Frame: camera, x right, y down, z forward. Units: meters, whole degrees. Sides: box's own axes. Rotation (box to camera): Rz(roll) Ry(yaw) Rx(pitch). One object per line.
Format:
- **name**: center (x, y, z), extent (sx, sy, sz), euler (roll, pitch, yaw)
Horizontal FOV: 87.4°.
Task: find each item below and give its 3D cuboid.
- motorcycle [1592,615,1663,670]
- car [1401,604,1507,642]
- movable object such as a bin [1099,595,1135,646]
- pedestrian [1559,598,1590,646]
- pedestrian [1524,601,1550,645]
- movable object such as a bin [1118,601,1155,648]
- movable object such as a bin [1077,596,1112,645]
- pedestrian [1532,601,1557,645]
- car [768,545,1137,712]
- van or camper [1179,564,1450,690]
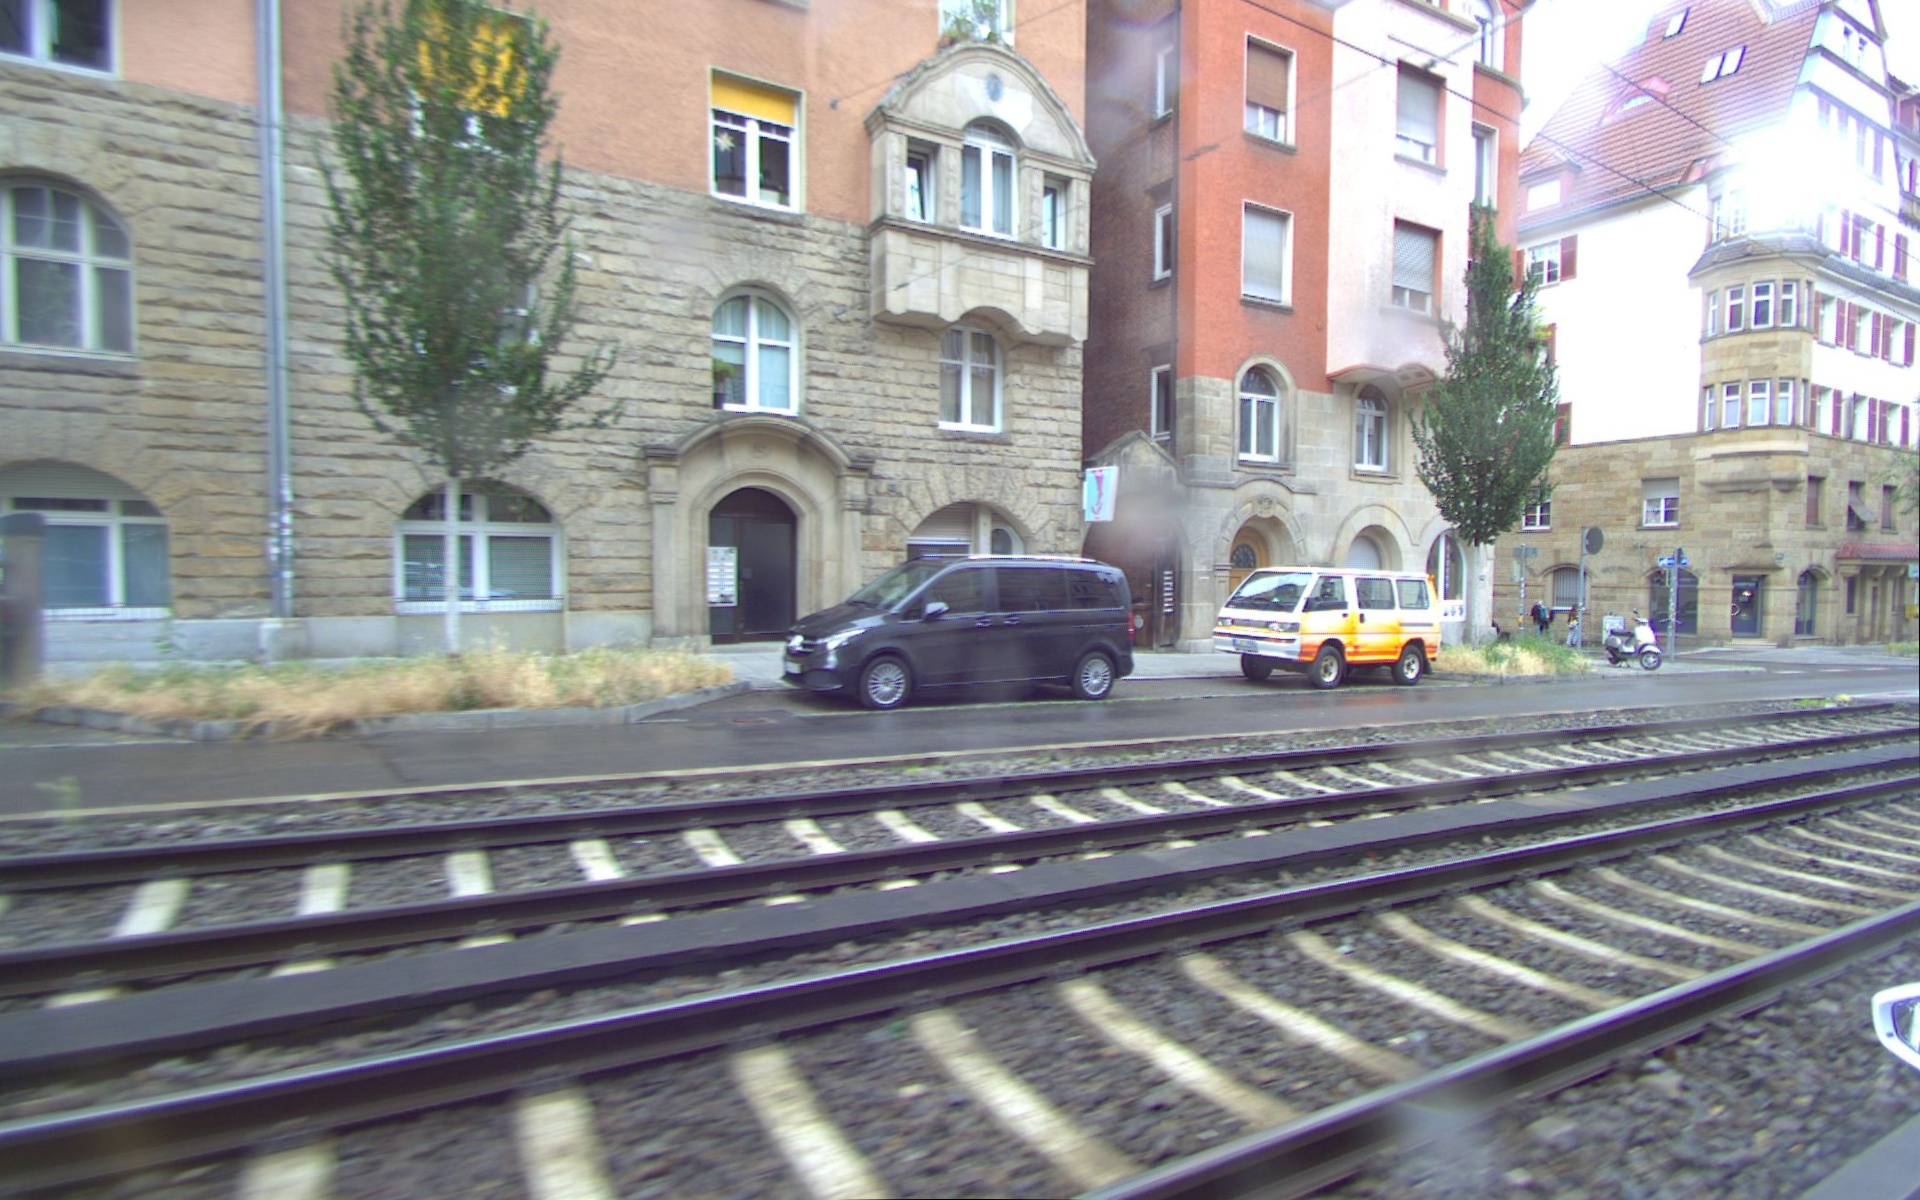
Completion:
- **motorcycle**: center (15.232, 0.944, 22.947), extent (0.608, 1.149, 1.441), euler (2, 1, 0)
- **car**: center (19.883, 0.894, 40.524), extent (1.541, 1.329, 3.607), euler (1, 1, -27)
- **movable object such as a bin**: center (3.478, 0.449, 22.234), extent (0.513, 1.075, 0.571), euler (1, 2, -30)
- **pedestrian**: center (23.312, 0.832, 38.107), extent (0.854, 1.756, 0.604), euler (1, 1, -29)
- **pedestrian**: center (23.114, 0.915, 40.236), extent (0.635, 1.756, 0.604), euler (1, 1, -29)
- **movable object such as a bin**: center (3.826, 0.528, 21.743), extent (0.513, 0.968, 0.571), euler (1, 2, -30)
- **movable object such as a bin**: center (3.039, 0.454, 22.732), extent (0.513, 1.075, 0.571), euler (1, 2, -30)
- **pedestrian**: center (23.659, 0.935, 40.663), extent (0.635, 1.756, 0.604), euler (1, 1, -29)
- **car**: center (-0.043, 0.354, 13.614), extent (4.644, 1.927, 1.984), euler (1, 0, -31)
- **van or camper**: center (6.213, 0.465, 17.445), extent (4.647, 1.927, 1.982), euler (2, 0, -32)
